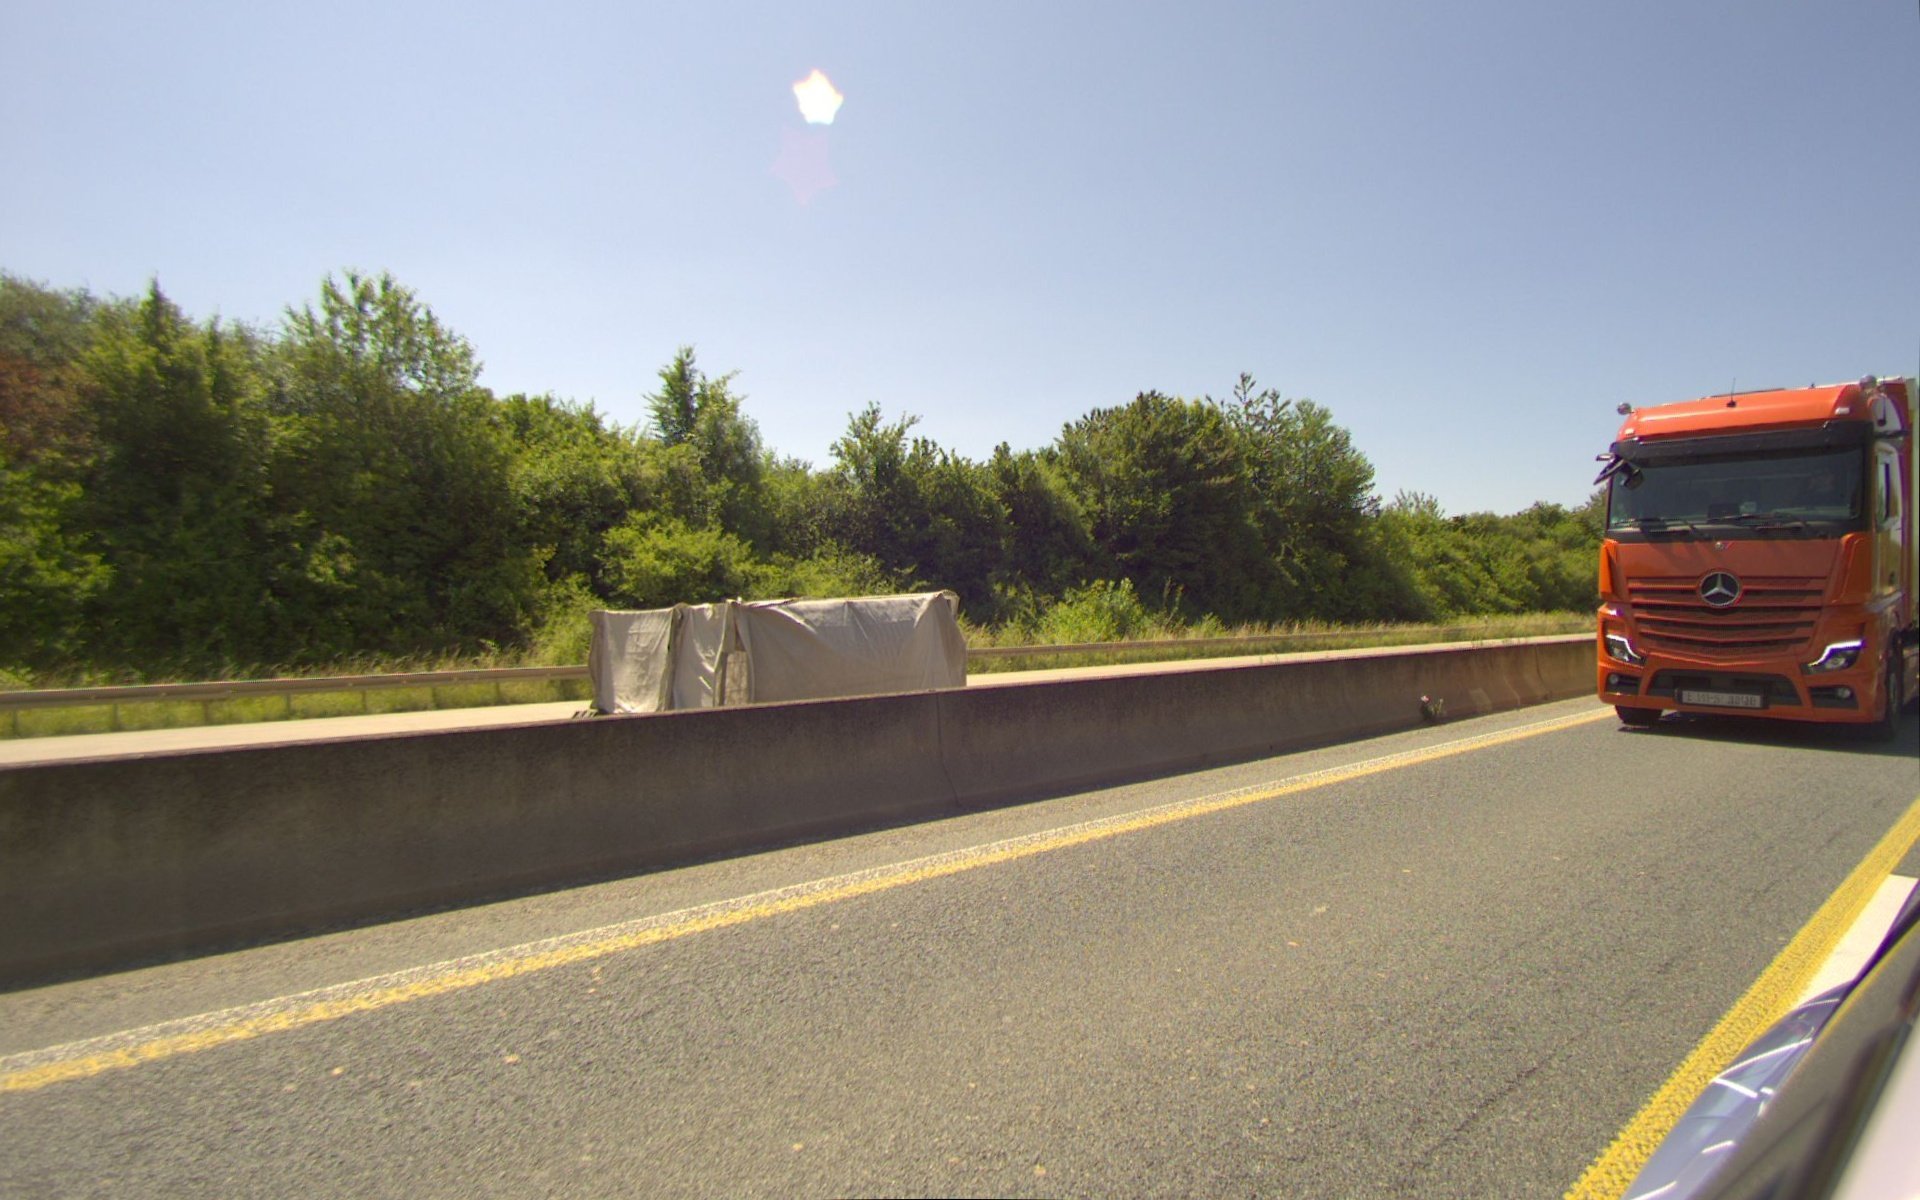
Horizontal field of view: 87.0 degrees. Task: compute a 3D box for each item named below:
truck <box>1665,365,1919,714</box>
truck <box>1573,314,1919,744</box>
[{"bbox_3d":[15.283,-0.793,16.950,12.990,4.061,2.686,-1,0,-41],"label":"truck"},{"bbox_3d":[10.441,-0.716,12.730,6.607,4.061,2.687,-1,0,-40],"label":"truck"}]
